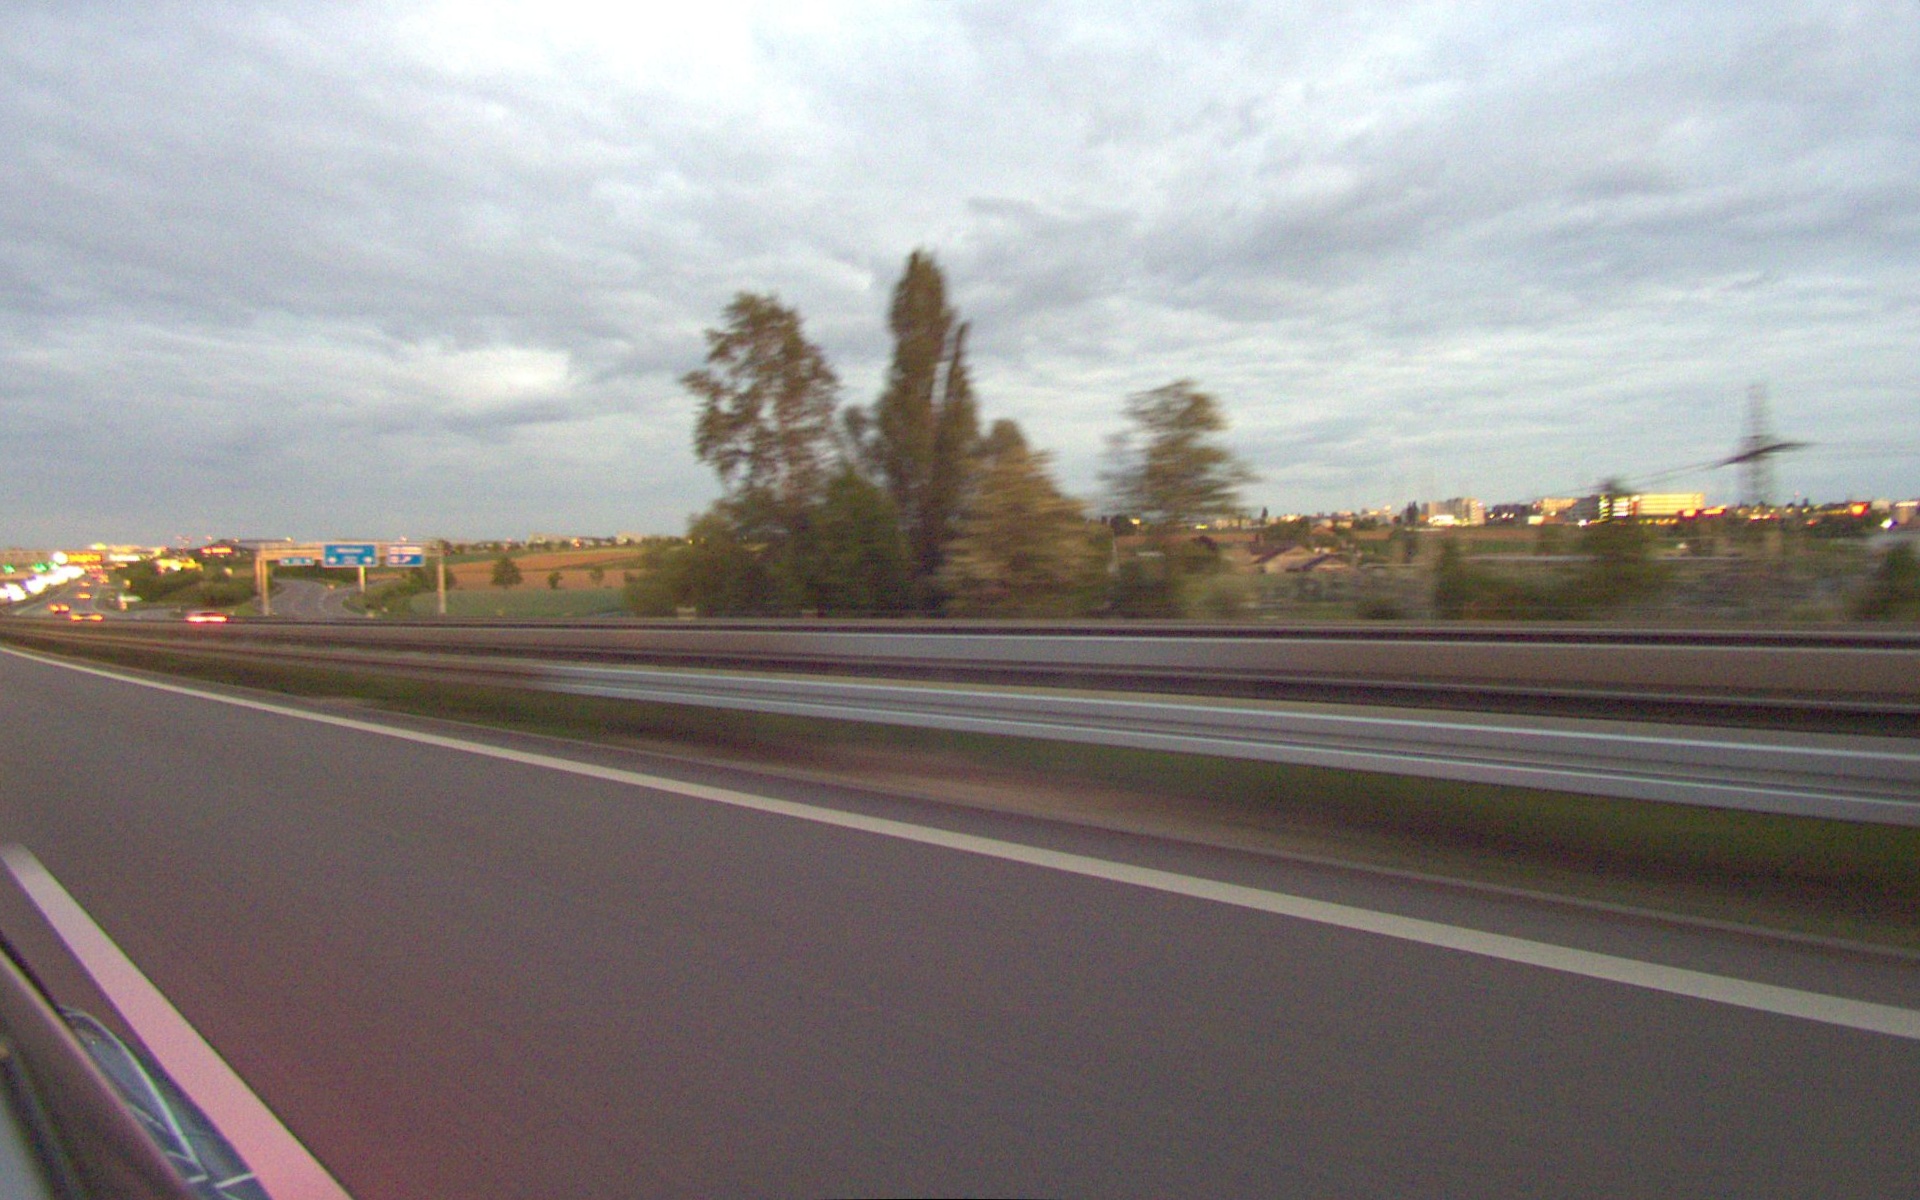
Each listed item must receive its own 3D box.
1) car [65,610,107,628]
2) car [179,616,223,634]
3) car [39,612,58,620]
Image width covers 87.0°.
[{"bbox_3d":[-72.033,1.586,83.402,4.327,1.414,1.973,-1,0,41],"label":"car"},{"bbox_3d":[-53.100,1.728,70.818,4.182,1.236,1.703,-1,0,42],"label":"car"},{"bbox_3d":[-154.234,2.751,171.268,4.865,1.368,1.972,-1,0,43],"label":"car"}]
